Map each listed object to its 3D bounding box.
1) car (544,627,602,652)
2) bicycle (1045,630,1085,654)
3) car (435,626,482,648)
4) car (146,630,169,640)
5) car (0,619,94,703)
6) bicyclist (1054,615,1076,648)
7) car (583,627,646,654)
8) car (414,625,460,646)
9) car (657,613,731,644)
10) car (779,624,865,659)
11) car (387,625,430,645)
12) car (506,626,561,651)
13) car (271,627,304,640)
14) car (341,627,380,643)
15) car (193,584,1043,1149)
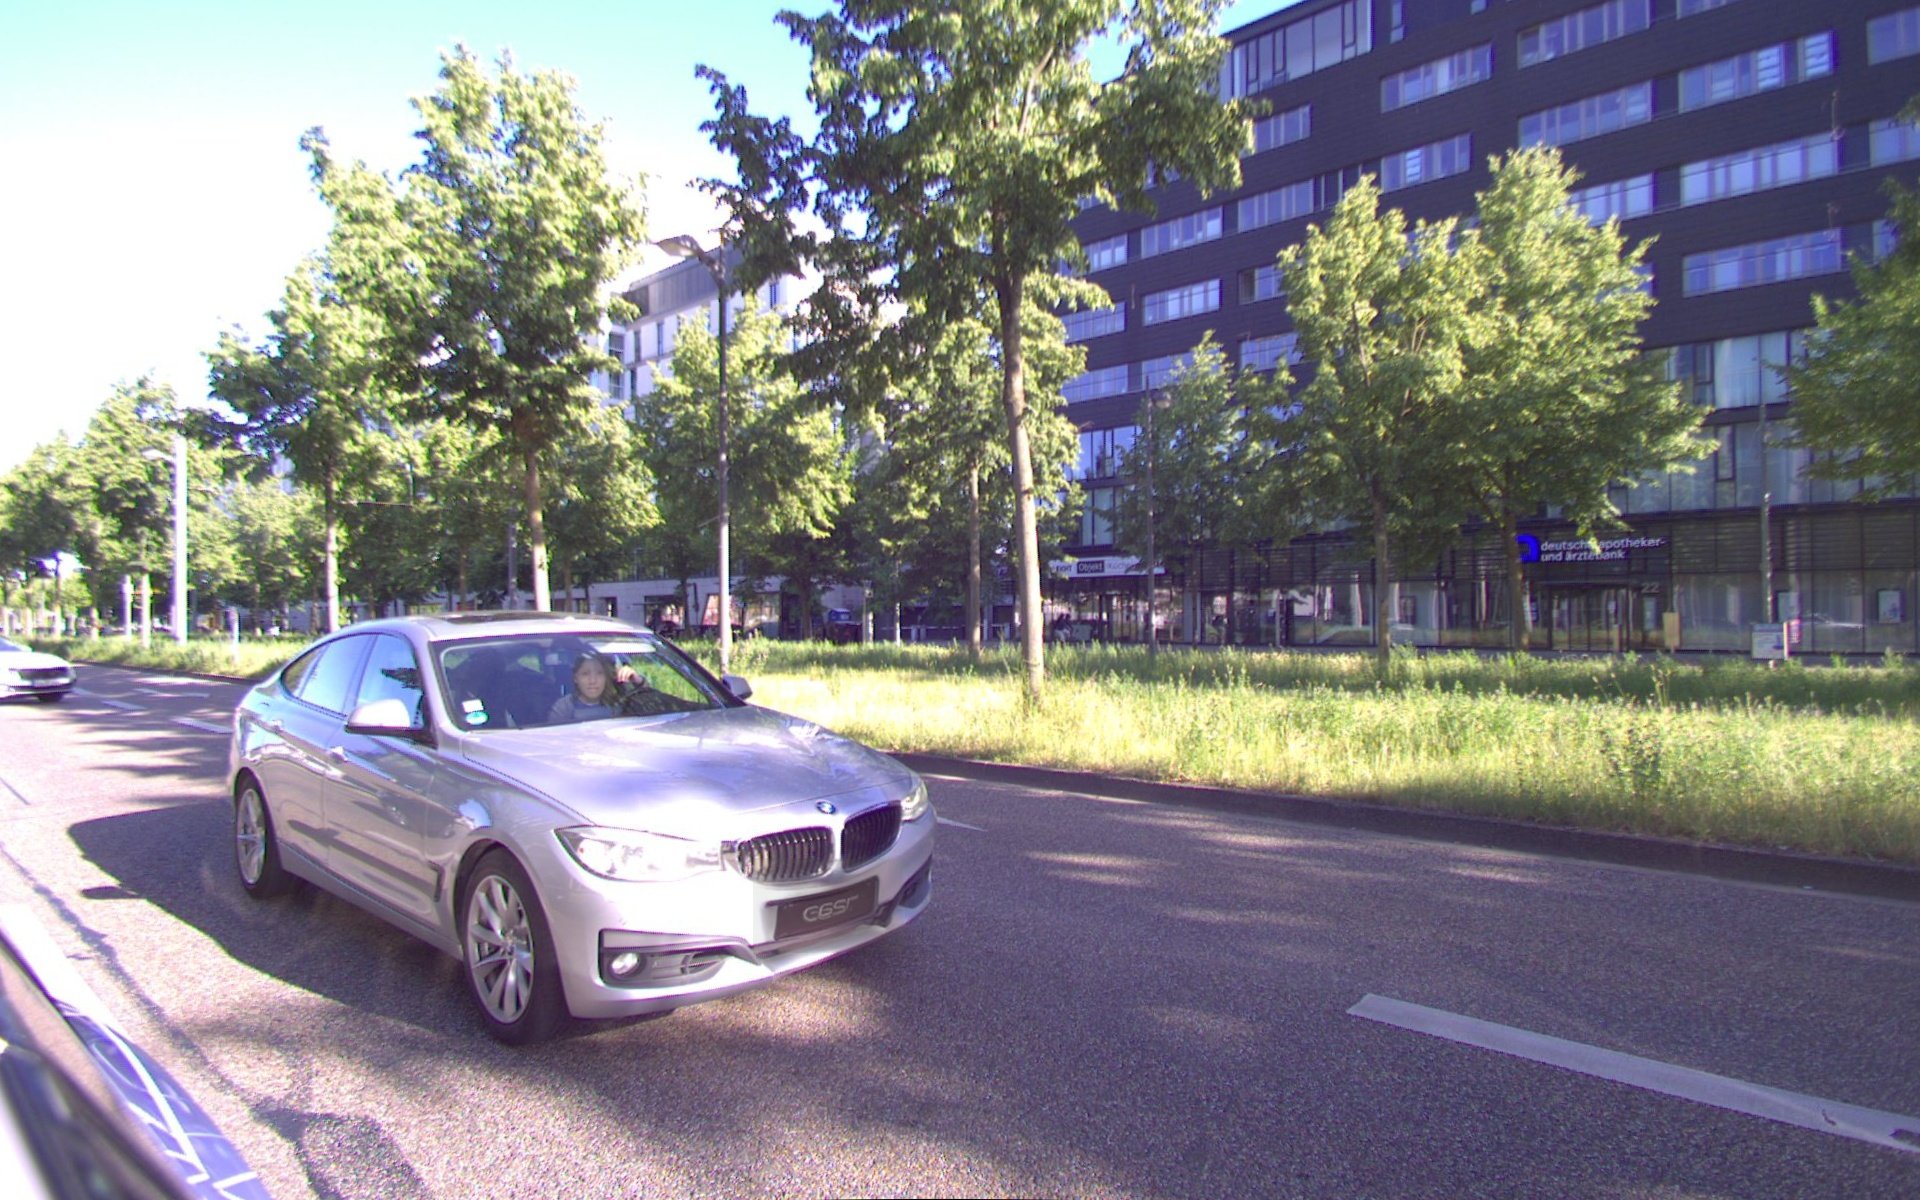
[{"bbox_3d":[-25.689,2.598,67.061,4.182,1.609,1.859,-2,-1,41],"label":"car"},{"bbox_3d":[4.567,1.816,44.071,1.755,1.043,0.472,-2,-2,41],"label":"bicycle"},{"bbox_3d":[-38.658,2.823,77.980,4.182,1.609,1.859,-2,-1,41],"label":"car"},{"bbox_3d":[-114.607,4.984,144.507,4.001,1.406,1.971,-2,-2,44],"label":"car"},{"bbox_3d":[-18.831,1.107,18.842,4.522,1.458,1.798,-1,-1,13],"label":"car"},{"bbox_3d":[4.577,1.358,44.080,0.820,1.435,0.472,-2,-2,41],"label":"bicyclist"},{"bbox_3d":[-21.599,2.533,63.179,4.182,1.609,1.859,-2,-1,41],"label":"car"},{"bbox_3d":[-42.119,2.873,81.487,4.182,1.609,1.859,-2,-1,41],"label":"car"},{"bbox_3d":[-14.558,1.568,55.256,4.182,1.609,1.926,-2,-1,41],"label":"car"},{"bbox_3d":[-6.759,2.023,49.394,4.182,1.609,1.926,-2,-1,41],"label":"car"},{"bbox_3d":[-46.574,2.948,85.384,4.182,1.609,1.859,-2,-1,41],"label":"car"},{"bbox_3d":[-29.717,2.667,70.473,4.182,1.609,1.859,-2,-1,41],"label":"car"},{"bbox_3d":[-72.517,3.624,109.072,3.998,1.406,1.972,-2,-2,41],"label":"car"},{"bbox_3d":[-55.709,3.251,94.079,3.997,1.406,1.973,-2,-2,41],"label":"car"},{"bbox_3d":[-1.978,0.755,4.868,4.558,1.495,1.800,-1,-1,40],"label":"car"}]
